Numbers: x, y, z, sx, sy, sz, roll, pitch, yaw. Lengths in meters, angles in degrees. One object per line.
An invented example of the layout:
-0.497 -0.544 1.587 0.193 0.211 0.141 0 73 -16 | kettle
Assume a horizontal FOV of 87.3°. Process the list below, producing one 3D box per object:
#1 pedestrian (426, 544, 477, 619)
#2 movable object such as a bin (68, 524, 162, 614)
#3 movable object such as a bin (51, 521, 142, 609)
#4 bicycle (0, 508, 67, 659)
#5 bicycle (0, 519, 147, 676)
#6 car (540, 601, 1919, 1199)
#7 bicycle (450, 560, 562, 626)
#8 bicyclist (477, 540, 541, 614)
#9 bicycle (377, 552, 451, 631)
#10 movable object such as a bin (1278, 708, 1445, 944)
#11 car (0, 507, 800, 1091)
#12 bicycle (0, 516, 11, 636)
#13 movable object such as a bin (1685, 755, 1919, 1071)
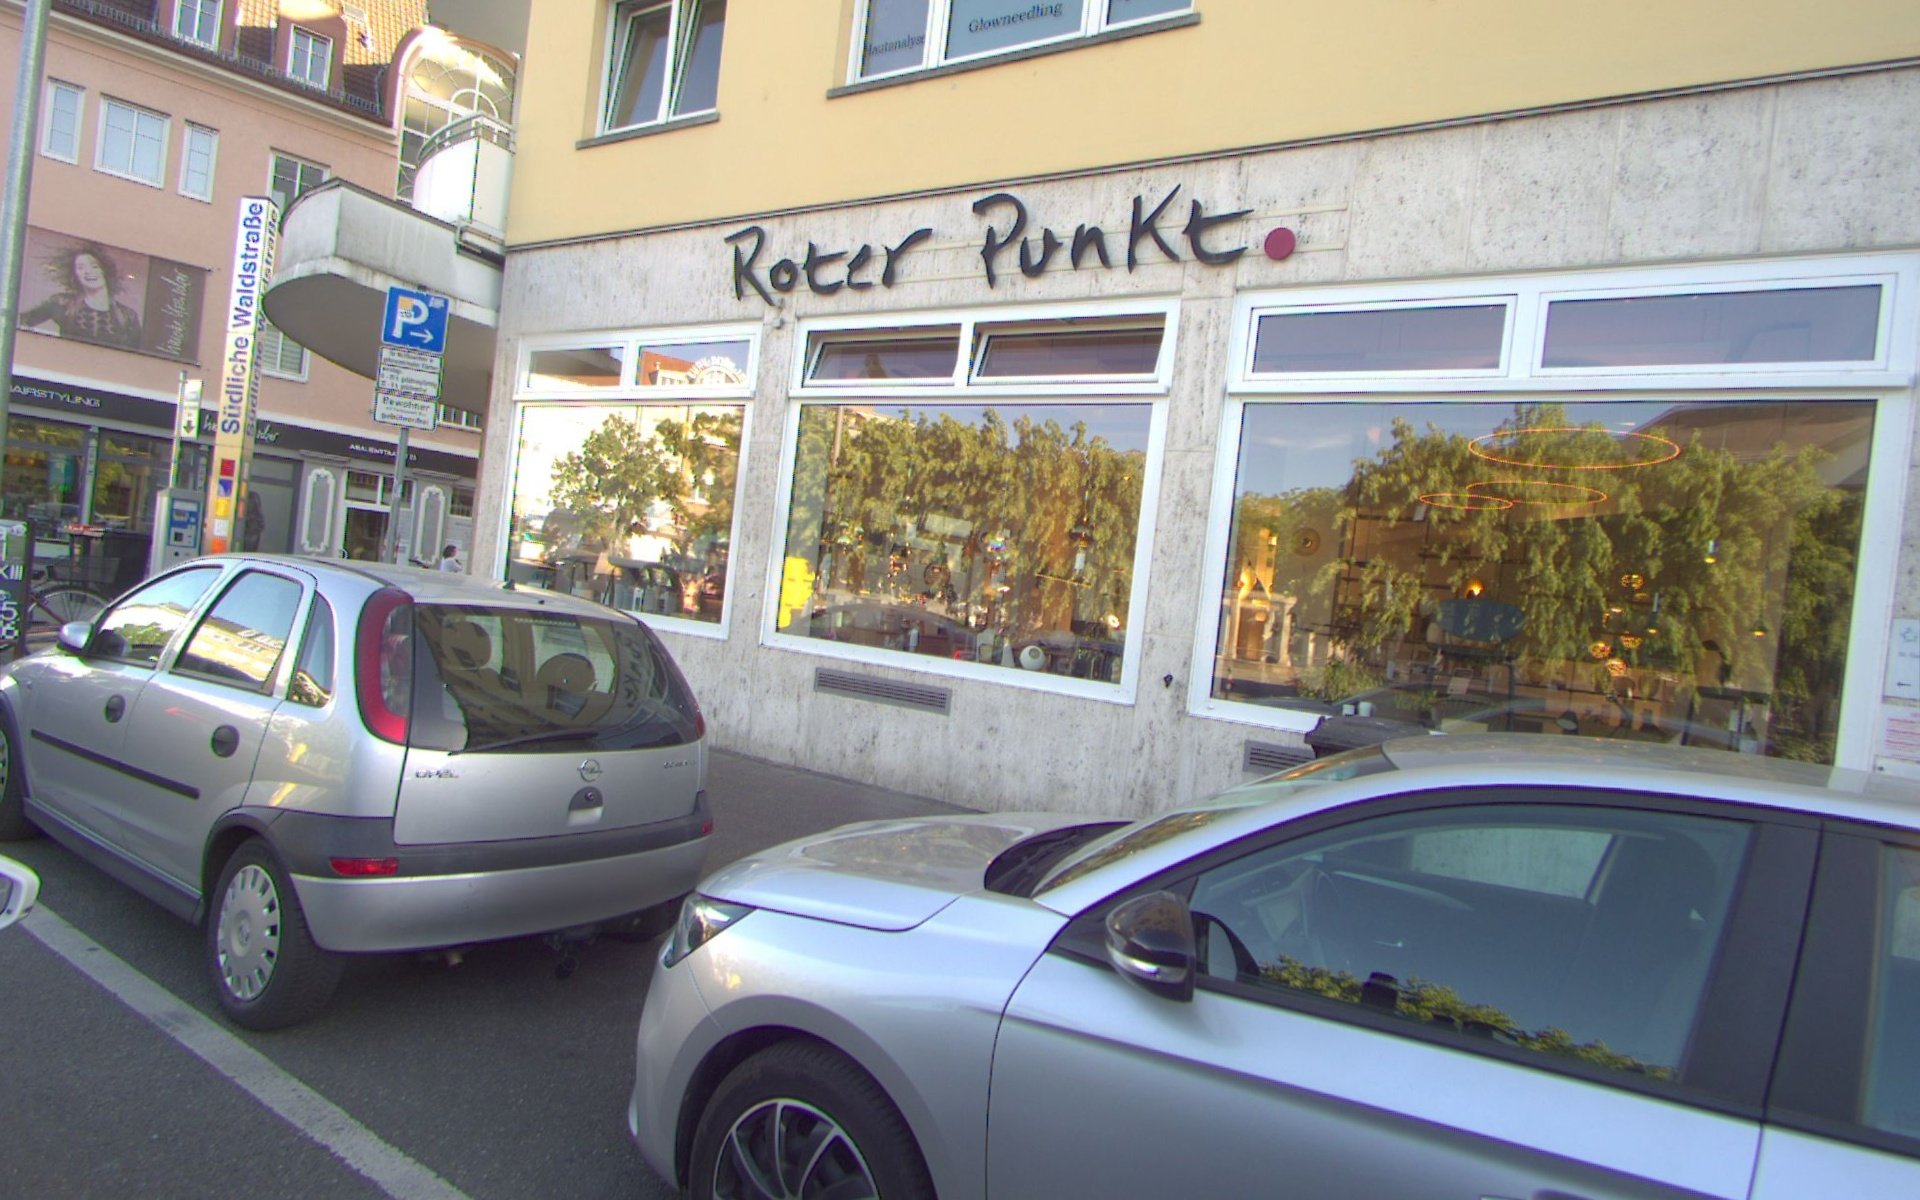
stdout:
-11.394 -0.425 22.538 0.743 1.571 0.692 7 0 -37 | pedestrian
-11.621 -0.425 13.845 0.617 1.105 0.754 6 -2 34 | movable object such as a bin
-12.157 -0.482 14.166 0.617 1.105 0.734 6 -1 34 | movable object such as a bin
-8.829 -0.198 8.519 0.778 1.284 1.721 7 1 37 | bicycle
-7.824 -0.047 8.045 0.681 1.208 1.885 8 1 37 | bicycle
1.075 0.955 2.151 3.642 1.415 1.653 7 -1 30 | car
-9.604 -0.130 21.326 1.959 1.163 0.782 7 0 -40 | bicycle
-9.561 -0.485 21.313 0.919 1.431 0.797 7 0 -40 | bicyclist
-9.615 -0.173 17.679 0.656 1.213 2.187 7 -1 -39 | bicycle
2.139 1.136 5.320 0.592 1.041 0.811 7 0 31 | movable object such as a bin
-2.647 0.512 4.298 3.583 1.397 1.616 7 -2 32 | car
-9.987 -0.307 9.165 0.770 1.138 1.797 7 1 37 | bicycle
3.738 1.288 4.303 0.879 1.066 0.751 7 0 32 | movable object such as a bin
